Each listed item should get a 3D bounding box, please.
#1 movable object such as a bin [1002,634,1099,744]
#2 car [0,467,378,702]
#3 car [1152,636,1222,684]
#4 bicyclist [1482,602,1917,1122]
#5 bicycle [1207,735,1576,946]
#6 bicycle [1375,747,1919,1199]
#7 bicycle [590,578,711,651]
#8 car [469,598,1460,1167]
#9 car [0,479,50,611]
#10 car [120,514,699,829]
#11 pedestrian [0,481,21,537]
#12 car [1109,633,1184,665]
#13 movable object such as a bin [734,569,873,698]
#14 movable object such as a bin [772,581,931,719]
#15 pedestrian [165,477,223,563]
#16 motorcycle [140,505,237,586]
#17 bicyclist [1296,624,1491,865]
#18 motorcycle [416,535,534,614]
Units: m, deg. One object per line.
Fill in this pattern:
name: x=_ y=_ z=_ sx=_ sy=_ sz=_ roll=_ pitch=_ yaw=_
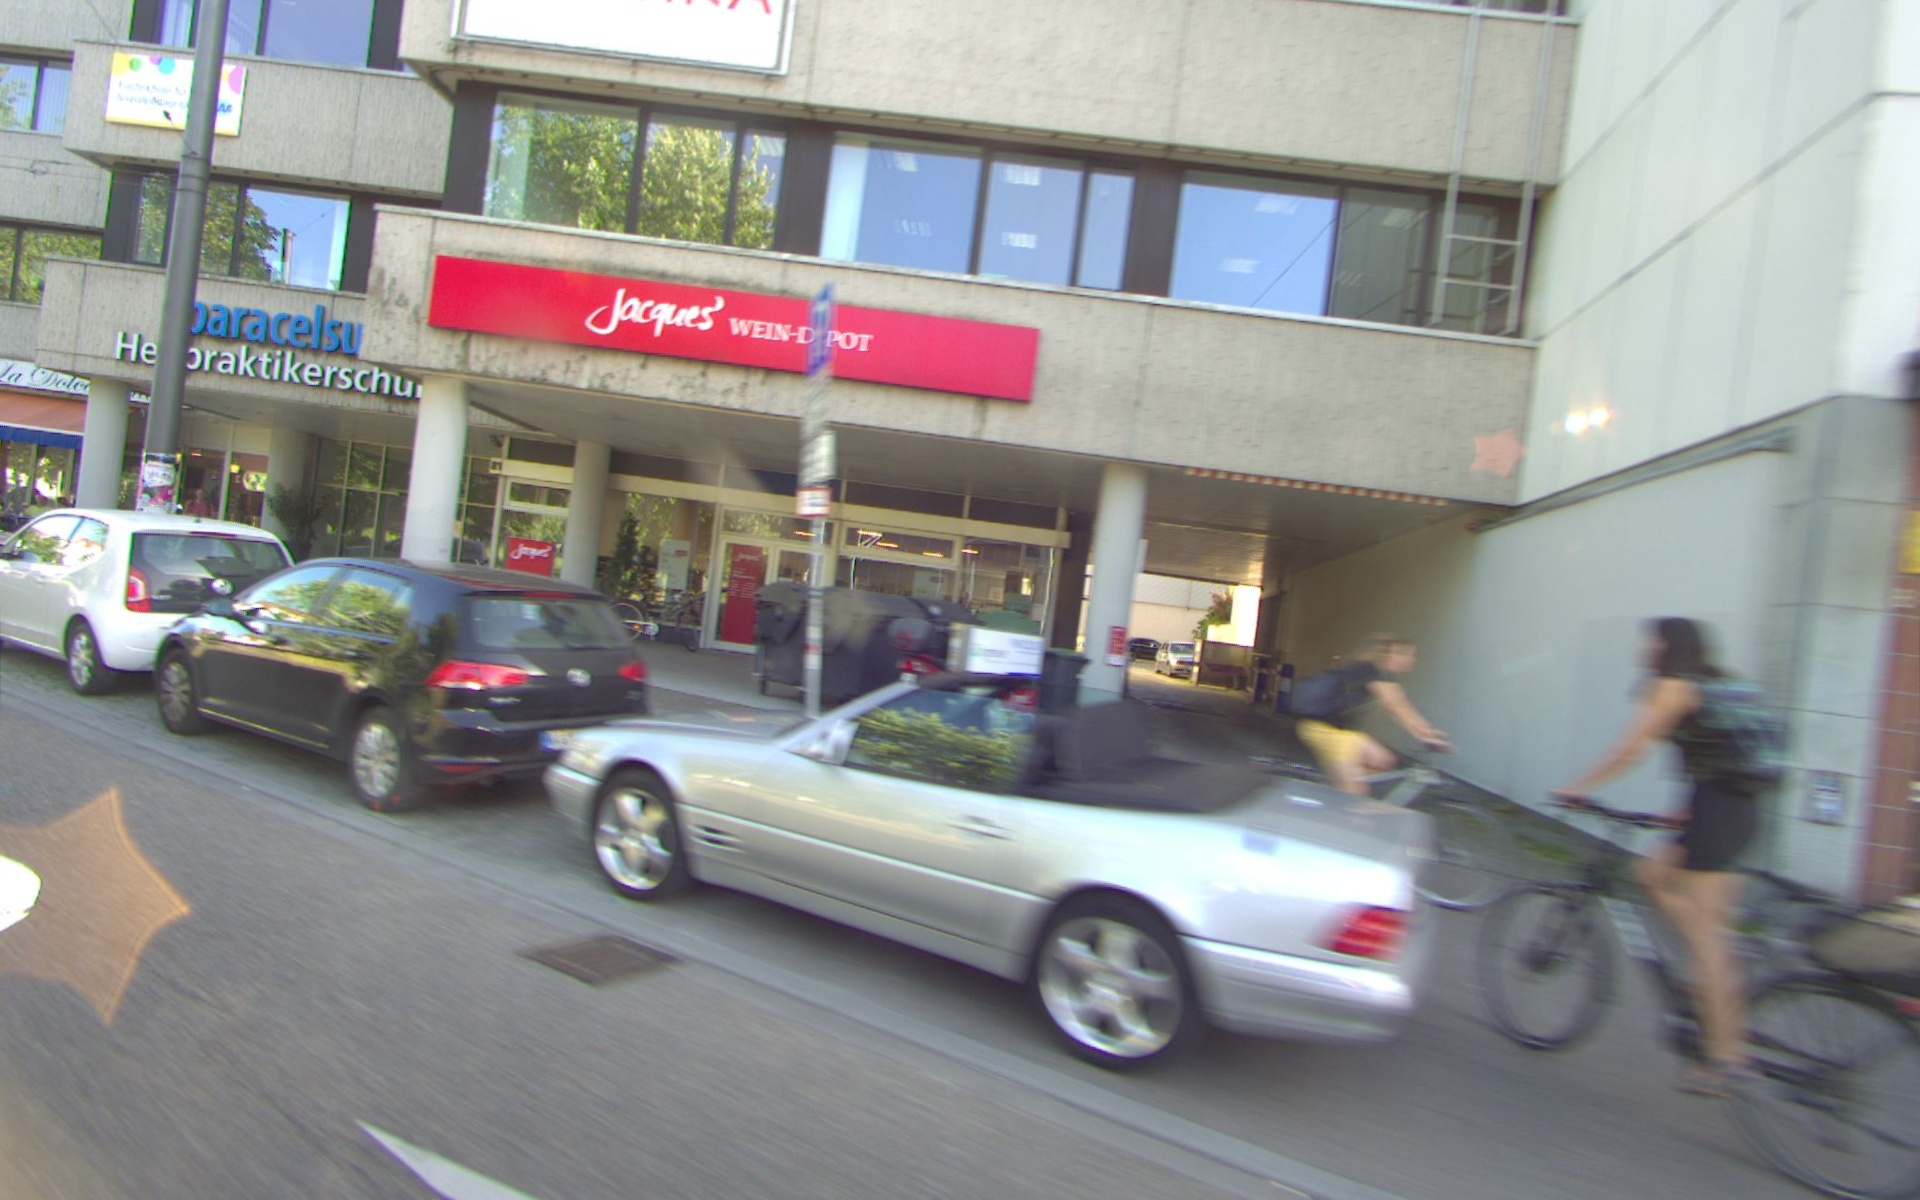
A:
movable object such as a bin: x=1.047 y=1.024 z=11.562 sx=0.711 sy=1.147 sz=0.744 roll=6 pitch=-2 yaw=35
car: x=-7.592 y=-0.172 z=9.404 sx=3.800 sy=1.708 sz=1.856 roll=6 pitch=-2 yaw=28
car: x=9.139 y=2.442 z=40.837 sx=1.962 sy=1.604 sz=4.005 roll=7 pitch=-3 yaw=4
bicyclist: x=2.812 y=0.902 z=3.871 sx=0.932 sy=1.652 sz=0.929 roll=8 pitch=-2 yaw=-29
bicycle: x=2.724 y=1.485 z=6.516 sx=2.033 sy=0.902 sz=0.536 roll=6 pitch=-2 yaw=26
bicycle: x=2.750 y=1.331 z=3.864 sx=0.813 sy=1.198 sz=1.950 roll=8 pitch=-2 yaw=-30
bicycle: x=-5.428 y=0.255 z=17.687 sx=1.837 sy=0.992 sz=0.677 roll=9 pitch=-2 yaw=-27
car: x=-0.120 y=0.961 z=5.030 sx=4.521 sy=1.359 sz=1.856 roll=6 pitch=-3 yaw=30
car: x=-13.218 y=-0.891 z=12.260 sx=4.652 sy=1.470 sz=1.778 roll=6 pitch=-3 yaw=31
car: x=-4.051 y=0.383 z=7.226 sx=4.129 sy=1.535 sz=1.675 roll=6 pitch=-3 yaw=31
pedestrian: x=-25.441 y=-2.437 z=26.289 sx=0.815 sy=1.419 sz=0.844 roll=8 pitch=0 yaw=4
car: x=11.017 y=2.896 z=59.585 sx=3.927 sy=1.370 sz=2.000 roll=7 pitch=-1 yaw=-1
movable object such as a bin: x=-1.974 y=0.443 z=12.787 sx=0.944 sy=1.449 sz=1.302 roll=6 pitch=-2 yaw=36
movable object such as a bin: x=-1.257 y=0.599 z=11.798 sx=1.104 sy=1.413 sz=1.337 roll=6 pitch=-2 yaw=36
pedestrian: x=-17.656 y=-1.827 z=23.213 sx=0.696 sy=1.836 sz=0.713 roll=8 pitch=-2 yaw=-22
motorcycle: x=-12.686 y=-0.907 z=16.520 sx=2.017 sy=1.170 sz=0.763 roll=5 pitch=1 yaw=39
bicyclist: x=2.816 y=0.903 z=6.554 sx=0.976 sy=1.341 sz=0.760 roll=6 pitch=-2 yaw=26
motorcycle: x=-9.140 y=-0.488 z=18.954 sx=2.062 sy=1.181 sz=0.513 roll=8 pitch=-1 yaw=17
